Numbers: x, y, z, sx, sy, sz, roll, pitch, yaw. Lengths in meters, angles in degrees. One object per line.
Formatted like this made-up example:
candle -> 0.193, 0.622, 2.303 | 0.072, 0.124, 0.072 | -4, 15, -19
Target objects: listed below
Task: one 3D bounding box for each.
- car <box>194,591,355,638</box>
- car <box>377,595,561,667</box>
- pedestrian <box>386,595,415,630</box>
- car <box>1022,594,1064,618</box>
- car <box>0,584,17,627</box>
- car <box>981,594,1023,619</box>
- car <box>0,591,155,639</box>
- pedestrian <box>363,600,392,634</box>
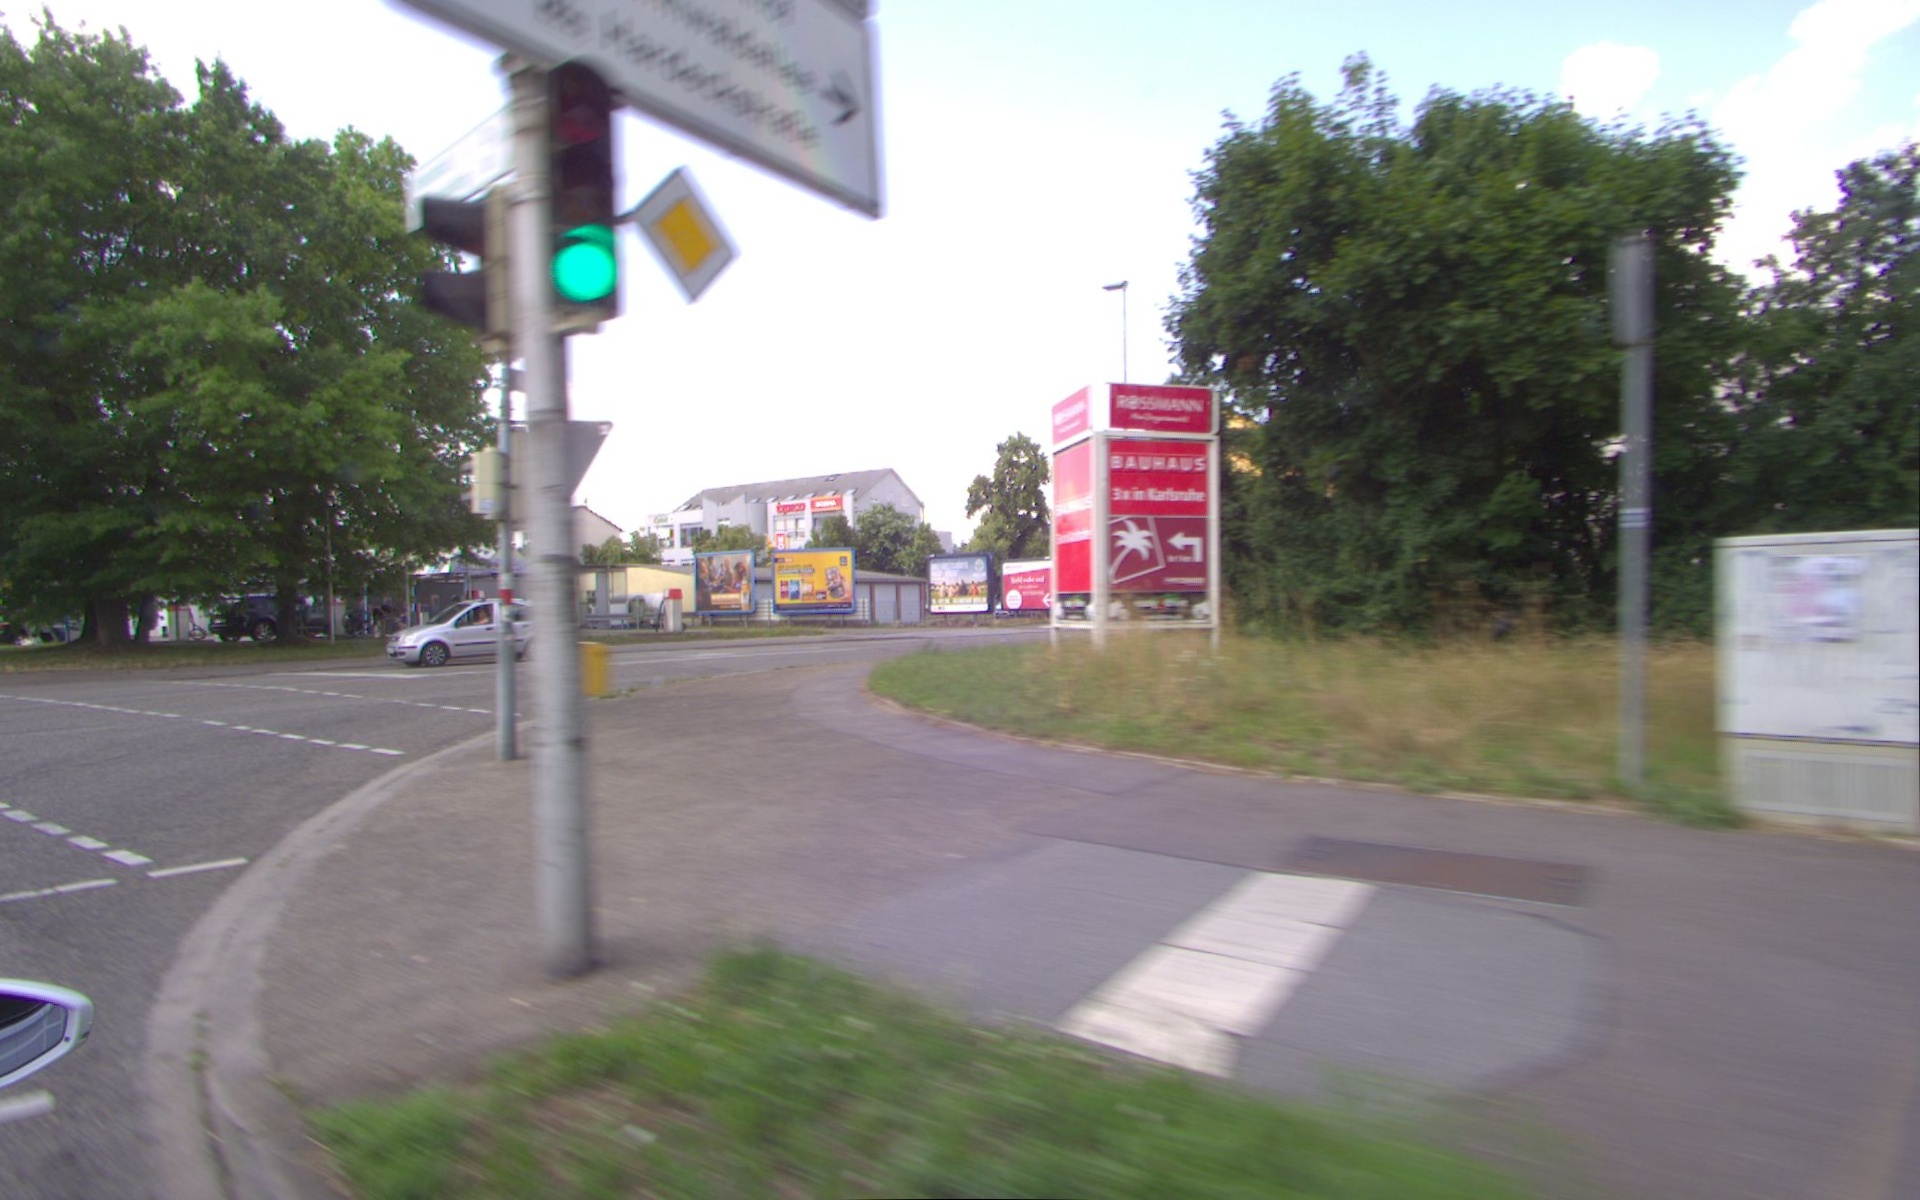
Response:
car -> -25.459, 0.499, 37.403 | 2.117, 1.617, 4.553 | -1, 0, 21
car -> -11.515, 0.676, 23.624 | 1.543, 1.537, 3.575 | 0, 0, 44
pedestrian -> -20.491, 0.464, 36.688 | 0.752, 1.271, 0.645 | 0, -1, -13
car -> 6.013, 0.414, 72.199 | 1.626, 1.559, 3.883 | -2, 2, 27
car -> -57.532, 0.353, 58.614 | 5.664, 2.486, 1.747 | -1, 1, 30
car -> 3.137, 0.449, 74.316 | 1.626, 1.613, 3.883 | -2, 2, 27
car -> -36.952, 0.567, 41.539 | 2.117, 1.851, 5.184 | -1, 0, 21
pedestrian -> -21.285, 0.623, 36.625 | 0.752, 1.205, 0.645 | 0, -1, -13
